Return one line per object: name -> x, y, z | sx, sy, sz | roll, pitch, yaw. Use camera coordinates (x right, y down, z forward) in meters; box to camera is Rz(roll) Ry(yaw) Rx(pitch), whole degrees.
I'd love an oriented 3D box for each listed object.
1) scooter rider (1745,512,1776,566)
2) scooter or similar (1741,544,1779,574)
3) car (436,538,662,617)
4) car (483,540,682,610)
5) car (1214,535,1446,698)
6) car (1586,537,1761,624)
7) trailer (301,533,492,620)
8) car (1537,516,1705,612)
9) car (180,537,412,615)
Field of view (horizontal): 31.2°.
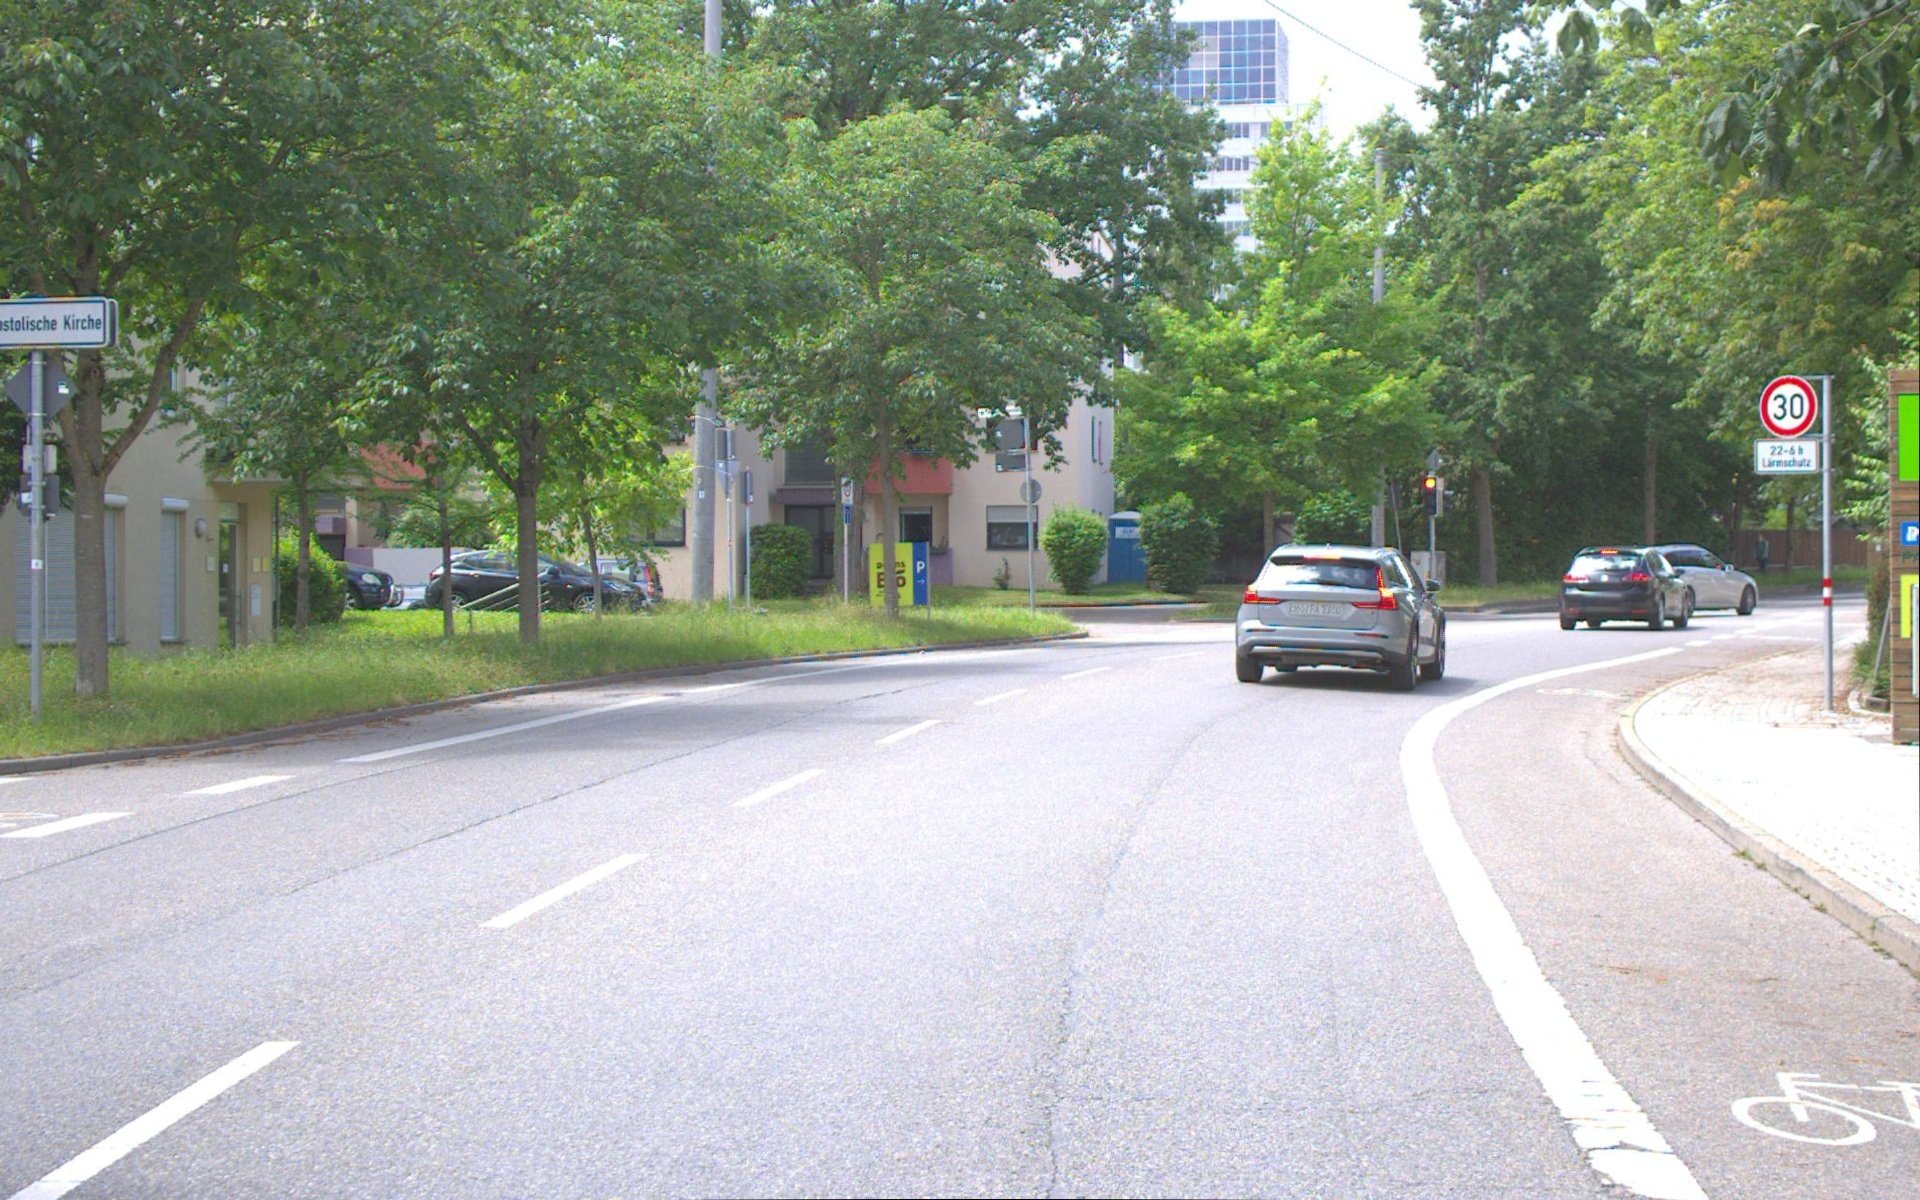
scooter rider -> 25.955, -1.986, 111.492 | 0.705, 1.721, 0.680 | 1, 0, -18
scooter or similar -> 25.943, -1.326, 111.498 | 0.952, 0.958, 0.691 | 0, 0, -19
car -> -8.094, -0.437, 67.851 | 4.079, 1.395, 1.794 | 1, -3, 7
car -> -8.422, -0.557, 76.867 | 4.079, 1.395, 1.794 | 1, -3, 7
car -> 4.070, 0.123, 37.222 | 1.957, 1.518, 4.327 | 3, 2, 12
car -> 14.819, -0.386, 71.259 | 1.808, 1.611, 4.319 | 4, 1, 37
trailer -> -12.683, -0.529, 77.491 | 3.907, 1.793, 1.630 | 1, -3, 5
car -> 11.534, -0.642, 59.810 | 1.807, 1.518, 4.323 | 4, 2, 25
car -> -13.240, -0.488, 68.667 | 4.176, 1.518, 1.901 | 0, 1, 7
